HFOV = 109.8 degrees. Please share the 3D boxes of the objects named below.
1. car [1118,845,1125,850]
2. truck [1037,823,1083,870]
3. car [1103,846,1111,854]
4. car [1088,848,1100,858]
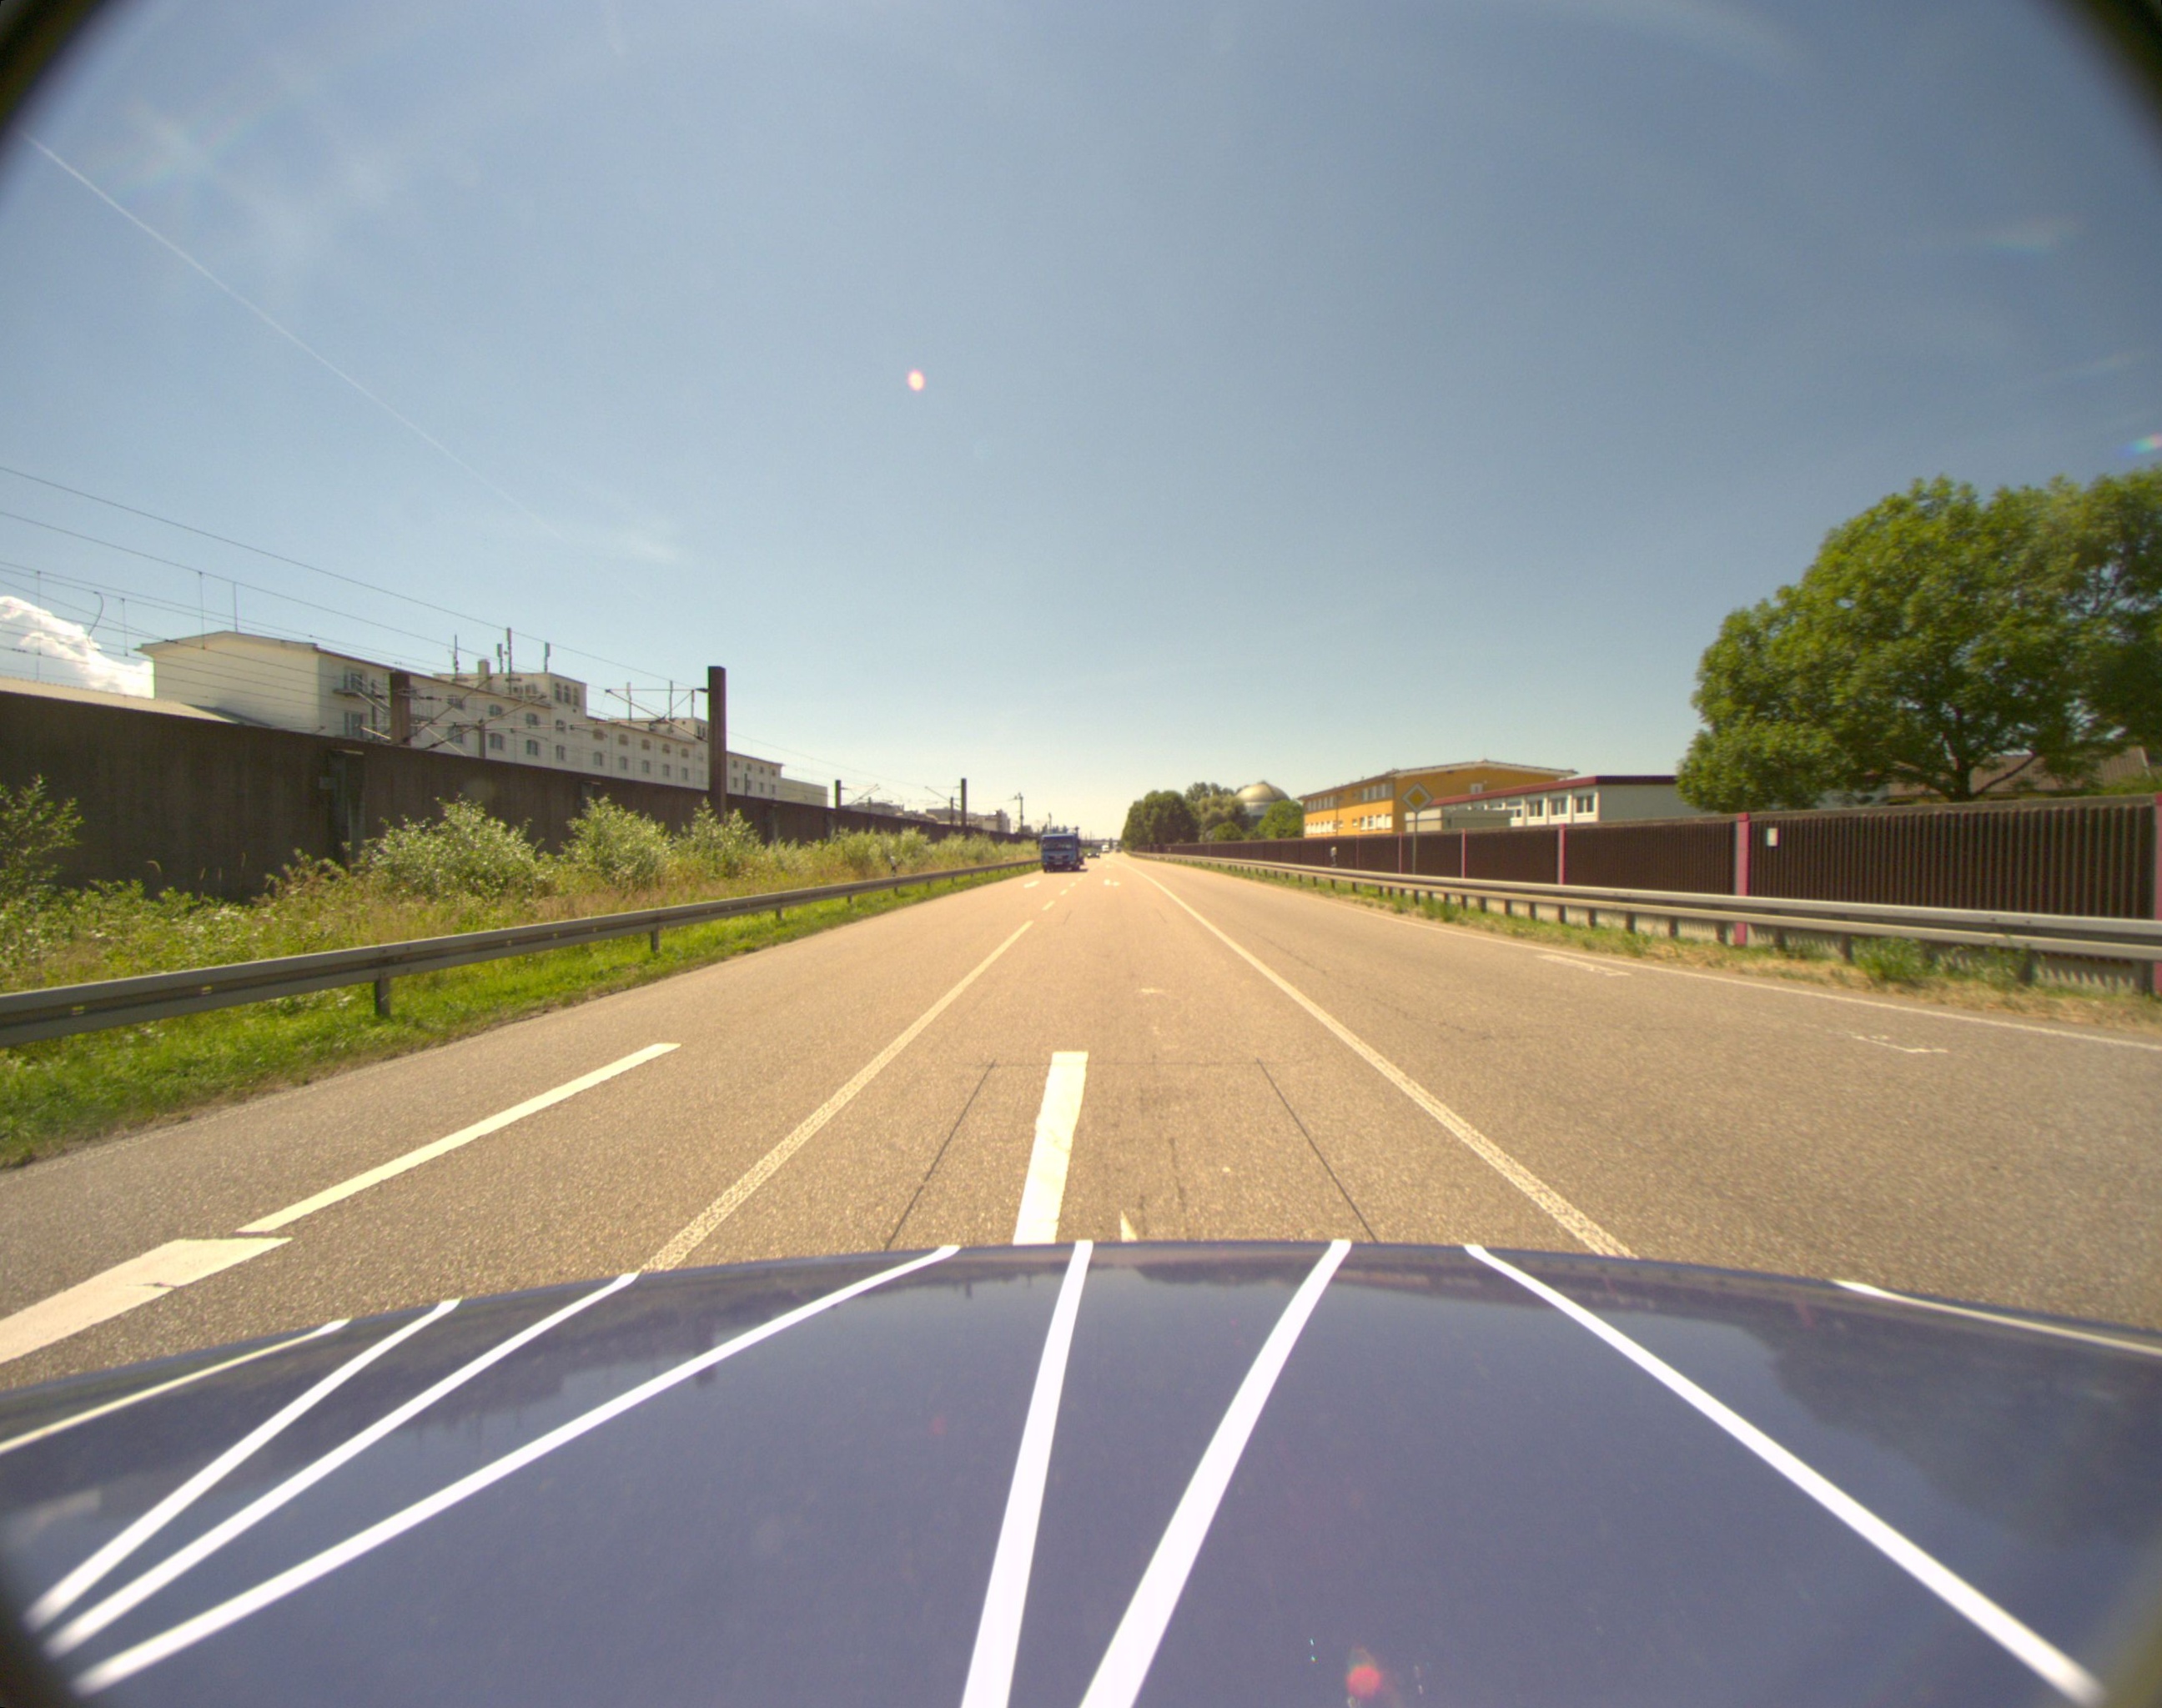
[{"bbox_3d":[12.635,-2.064,238.421,1.892,1.730,4.776,-1,1,2],"label":"car"},{"bbox_3d":[-1.360,-0.577,54.810,2.616,3.024,10.655,-1,1,2],"label":"truck"},{"bbox_3d":[8.139,-1.358,238.505,2.204,2.545,5.224,-1,1,3],"label":"car"},{"bbox_3d":[2.068,-0.227,117.966,1.729,1.465,3.889,-1,1,2],"label":"car"}]
